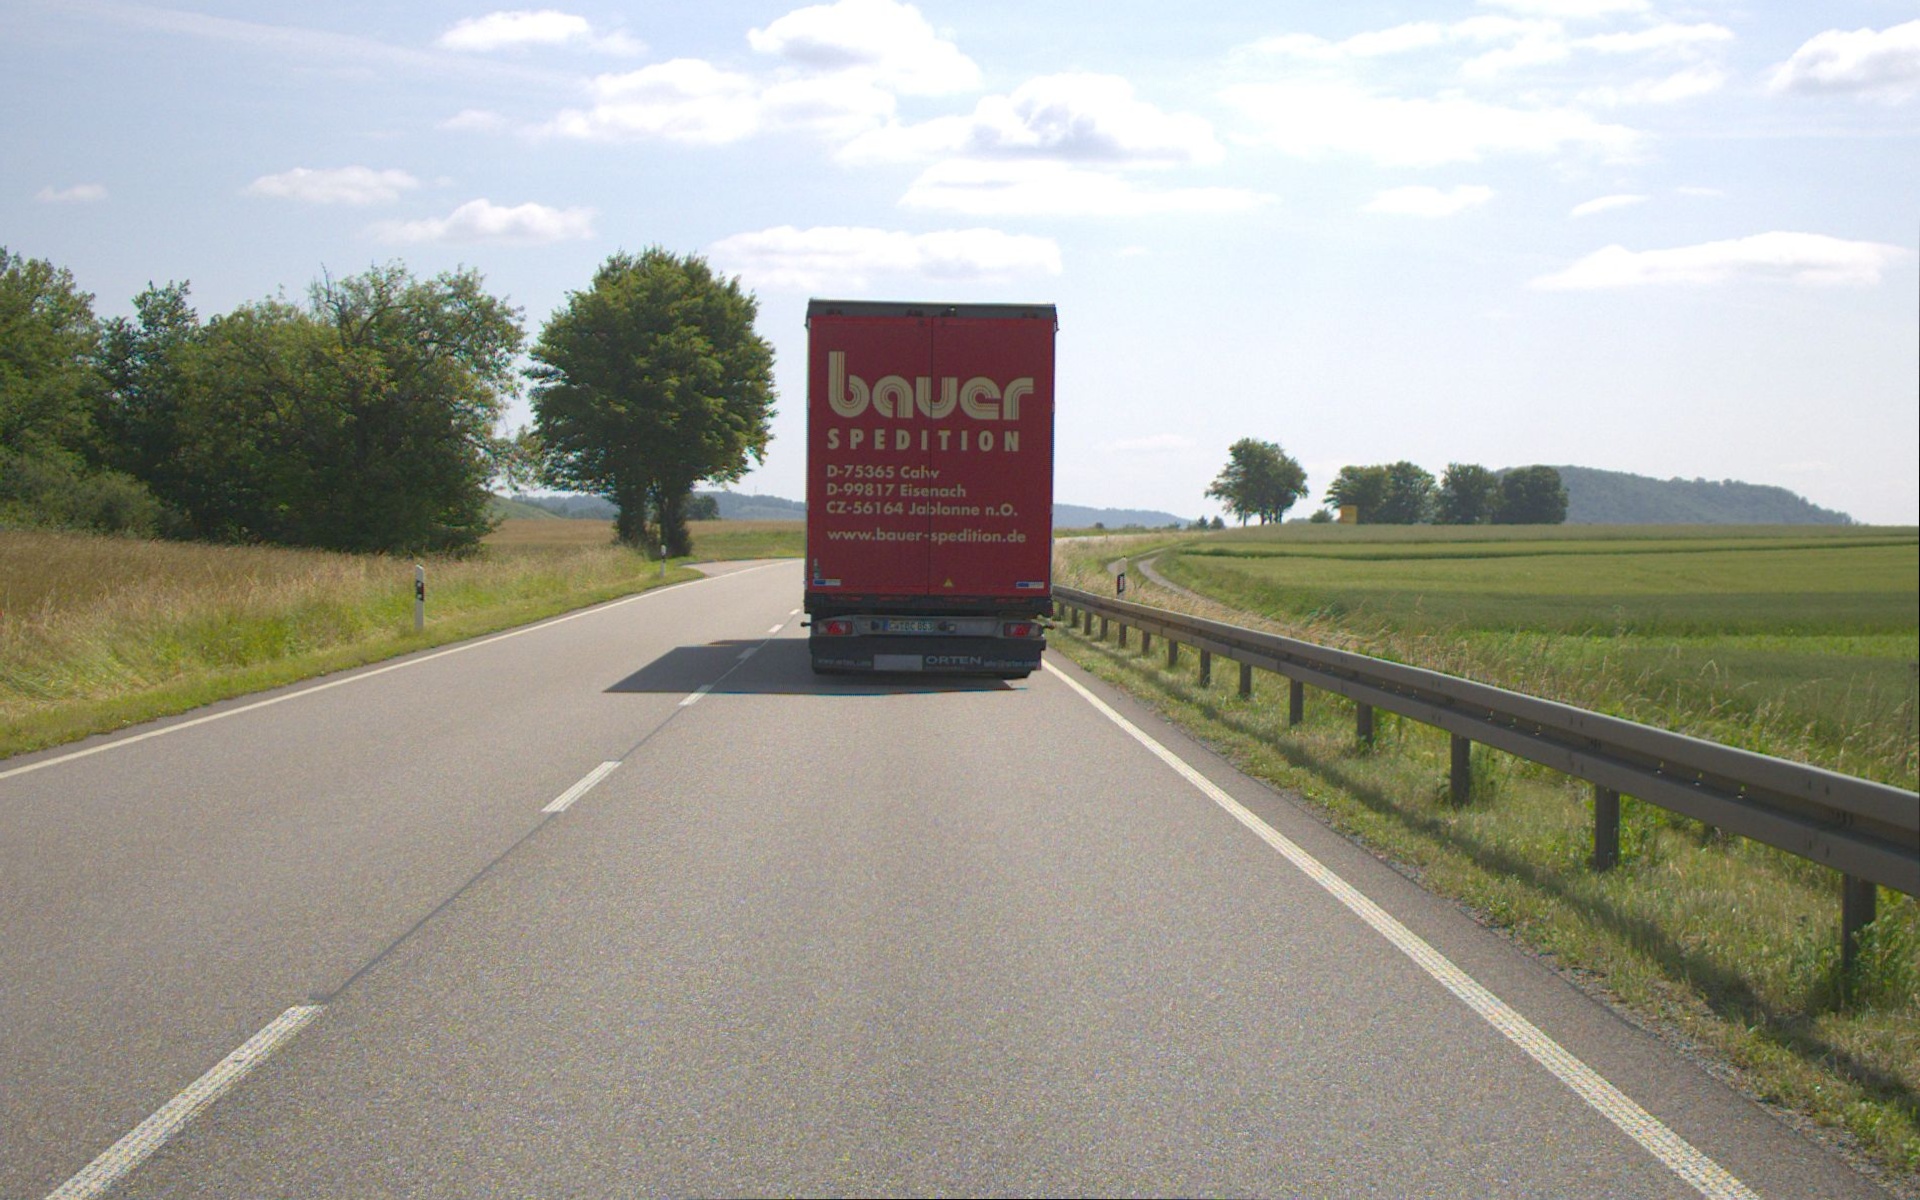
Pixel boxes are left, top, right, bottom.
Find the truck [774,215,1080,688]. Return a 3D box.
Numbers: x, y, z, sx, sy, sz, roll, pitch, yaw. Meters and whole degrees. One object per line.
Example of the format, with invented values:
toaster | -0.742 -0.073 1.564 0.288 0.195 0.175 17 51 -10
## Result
truck | -0.459 -1.530 39.298 2.975 4.697 9.366 1 0 -2
